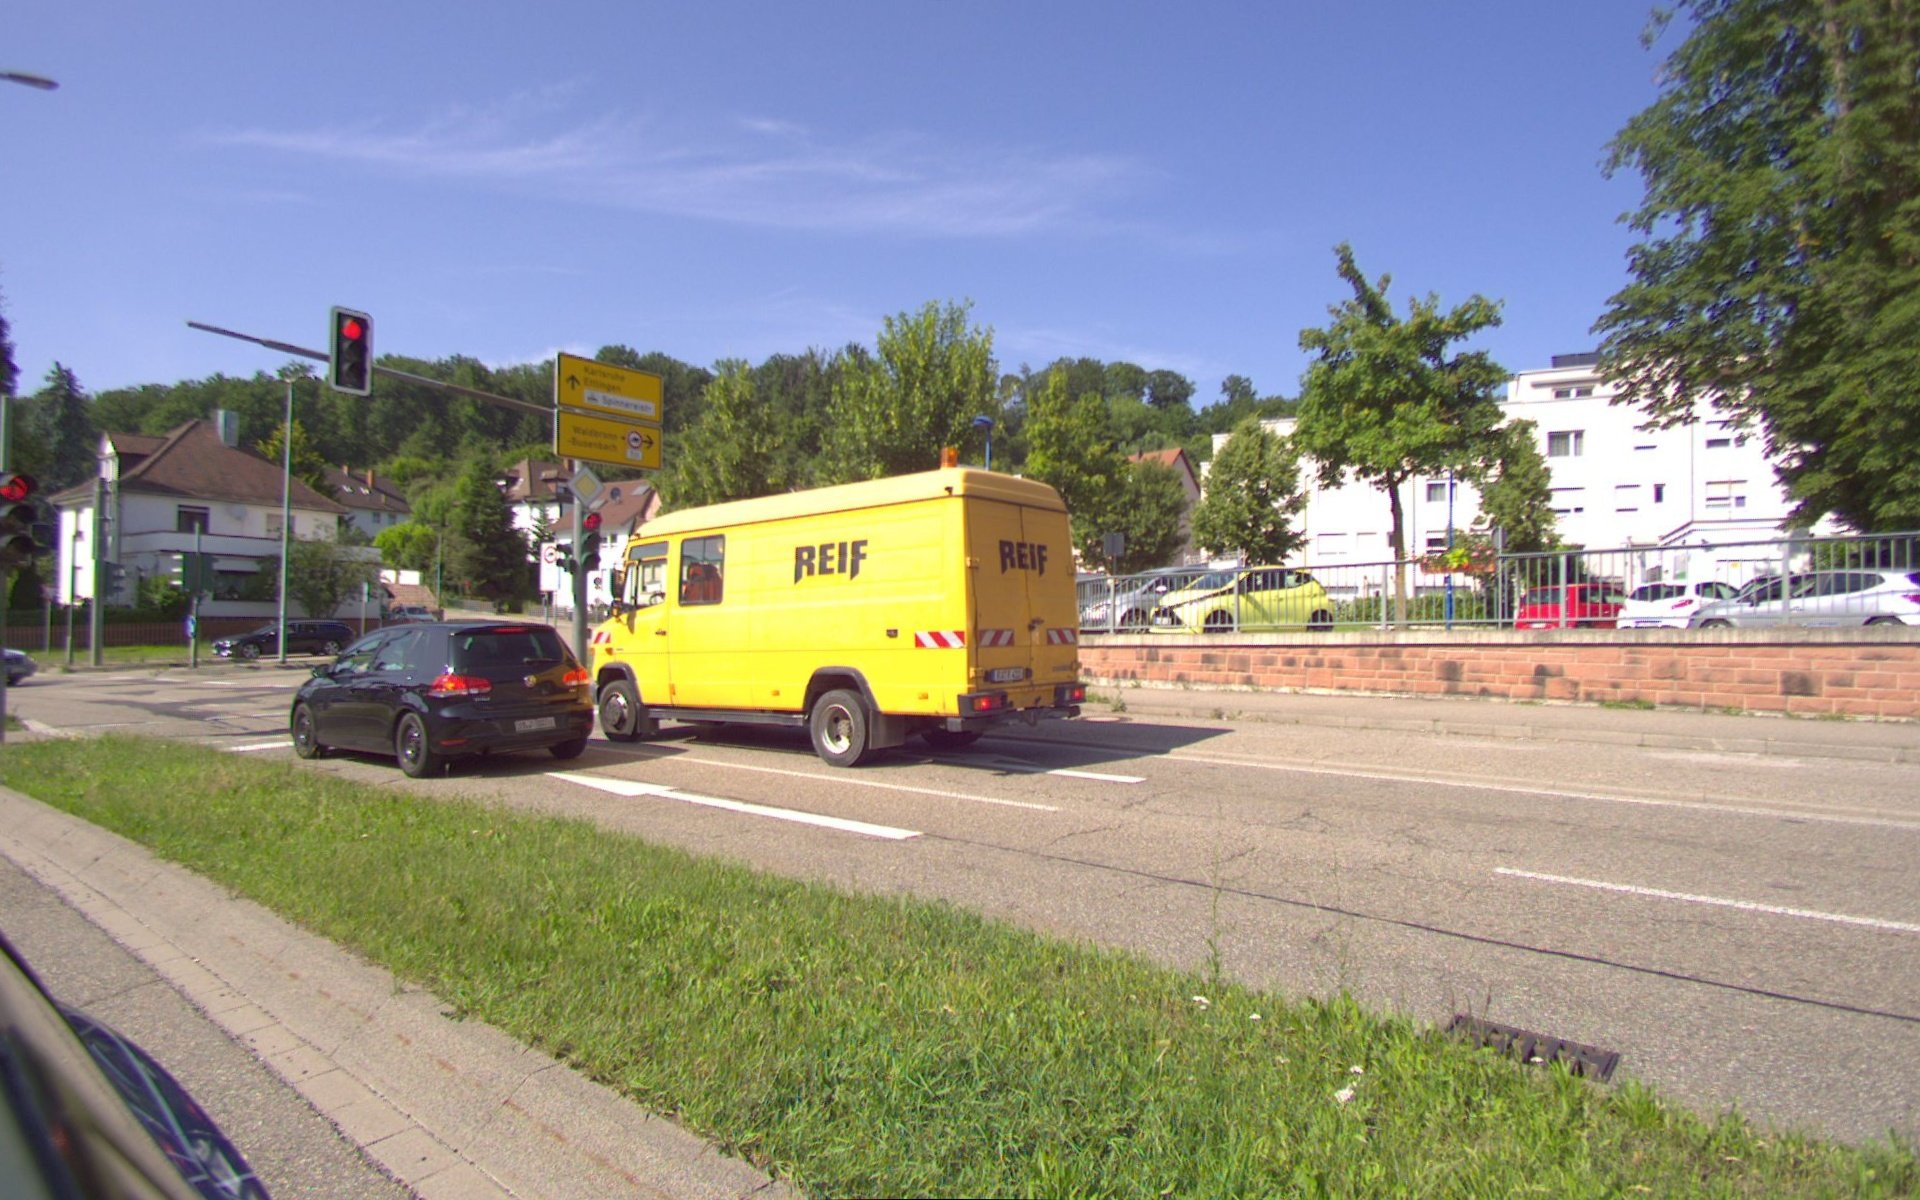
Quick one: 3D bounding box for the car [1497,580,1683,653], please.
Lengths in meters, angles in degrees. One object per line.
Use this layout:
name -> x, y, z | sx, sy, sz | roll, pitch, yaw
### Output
car -> 15.757, 0.394, 25.333 | 3.931, 1.571, 1.920 | -2, -1, -21

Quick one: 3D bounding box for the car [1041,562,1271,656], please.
car -> 4.170, 0.164, 21.668 | 4.339, 1.709, 2.064 | -3, 0, -21

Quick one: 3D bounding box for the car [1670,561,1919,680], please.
car -> 14.880, 0.342, 17.351 | 1.888, 1.803, 4.013 | 0, -1, -21

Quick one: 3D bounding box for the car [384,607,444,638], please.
car -> -33.080, 1.373, 61.261 | 3.999, 1.649, 1.914 | -3, -1, 42

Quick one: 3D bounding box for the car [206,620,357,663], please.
car -> -27.329, 1.654, 40.898 | 1.977, 1.495, 4.691 | -3, -1, 37

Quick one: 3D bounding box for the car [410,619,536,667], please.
car -> -16.864, 1.469, 35.238 | 1.650, 1.545, 3.928 | -2, -1, 20

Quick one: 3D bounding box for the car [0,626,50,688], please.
car -> -25.823, 1.488, 25.056 | 4.679, 1.515, 1.982 | -2, -1, -4

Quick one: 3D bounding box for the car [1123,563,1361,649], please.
car -> 5.329, 0.104, 19.222 | 3.931, 1.392, 1.920 | -2, -1, -21

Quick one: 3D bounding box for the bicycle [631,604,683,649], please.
bicycle -> -9.311, 0.817, 31.082 | 1.756, 1.265, 0.612 | -5, 1, 42

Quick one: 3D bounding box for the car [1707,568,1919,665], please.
car -> 17.350, 0.285, 20.196 | 3.931, 1.684, 2.006 | -2, -1, -19

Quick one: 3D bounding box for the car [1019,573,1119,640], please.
car -> 4.331, 0.278, 41.310 | 2.065, 2.462, 5.800 | -2, 0, -14

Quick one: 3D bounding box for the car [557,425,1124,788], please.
car -> -1.626, 0.098, 11.407 | 6.456, 3.033, 2.444 | -1, 0, 38

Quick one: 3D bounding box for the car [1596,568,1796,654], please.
car -> 16.789, 0.236, 23.101 | 3.931, 1.714, 1.920 | -3, -1, -24

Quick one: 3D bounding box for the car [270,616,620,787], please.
car -> -5.506, 0.929, 10.638 | 4.037, 1.474, 1.729 | -2, -2, 38
